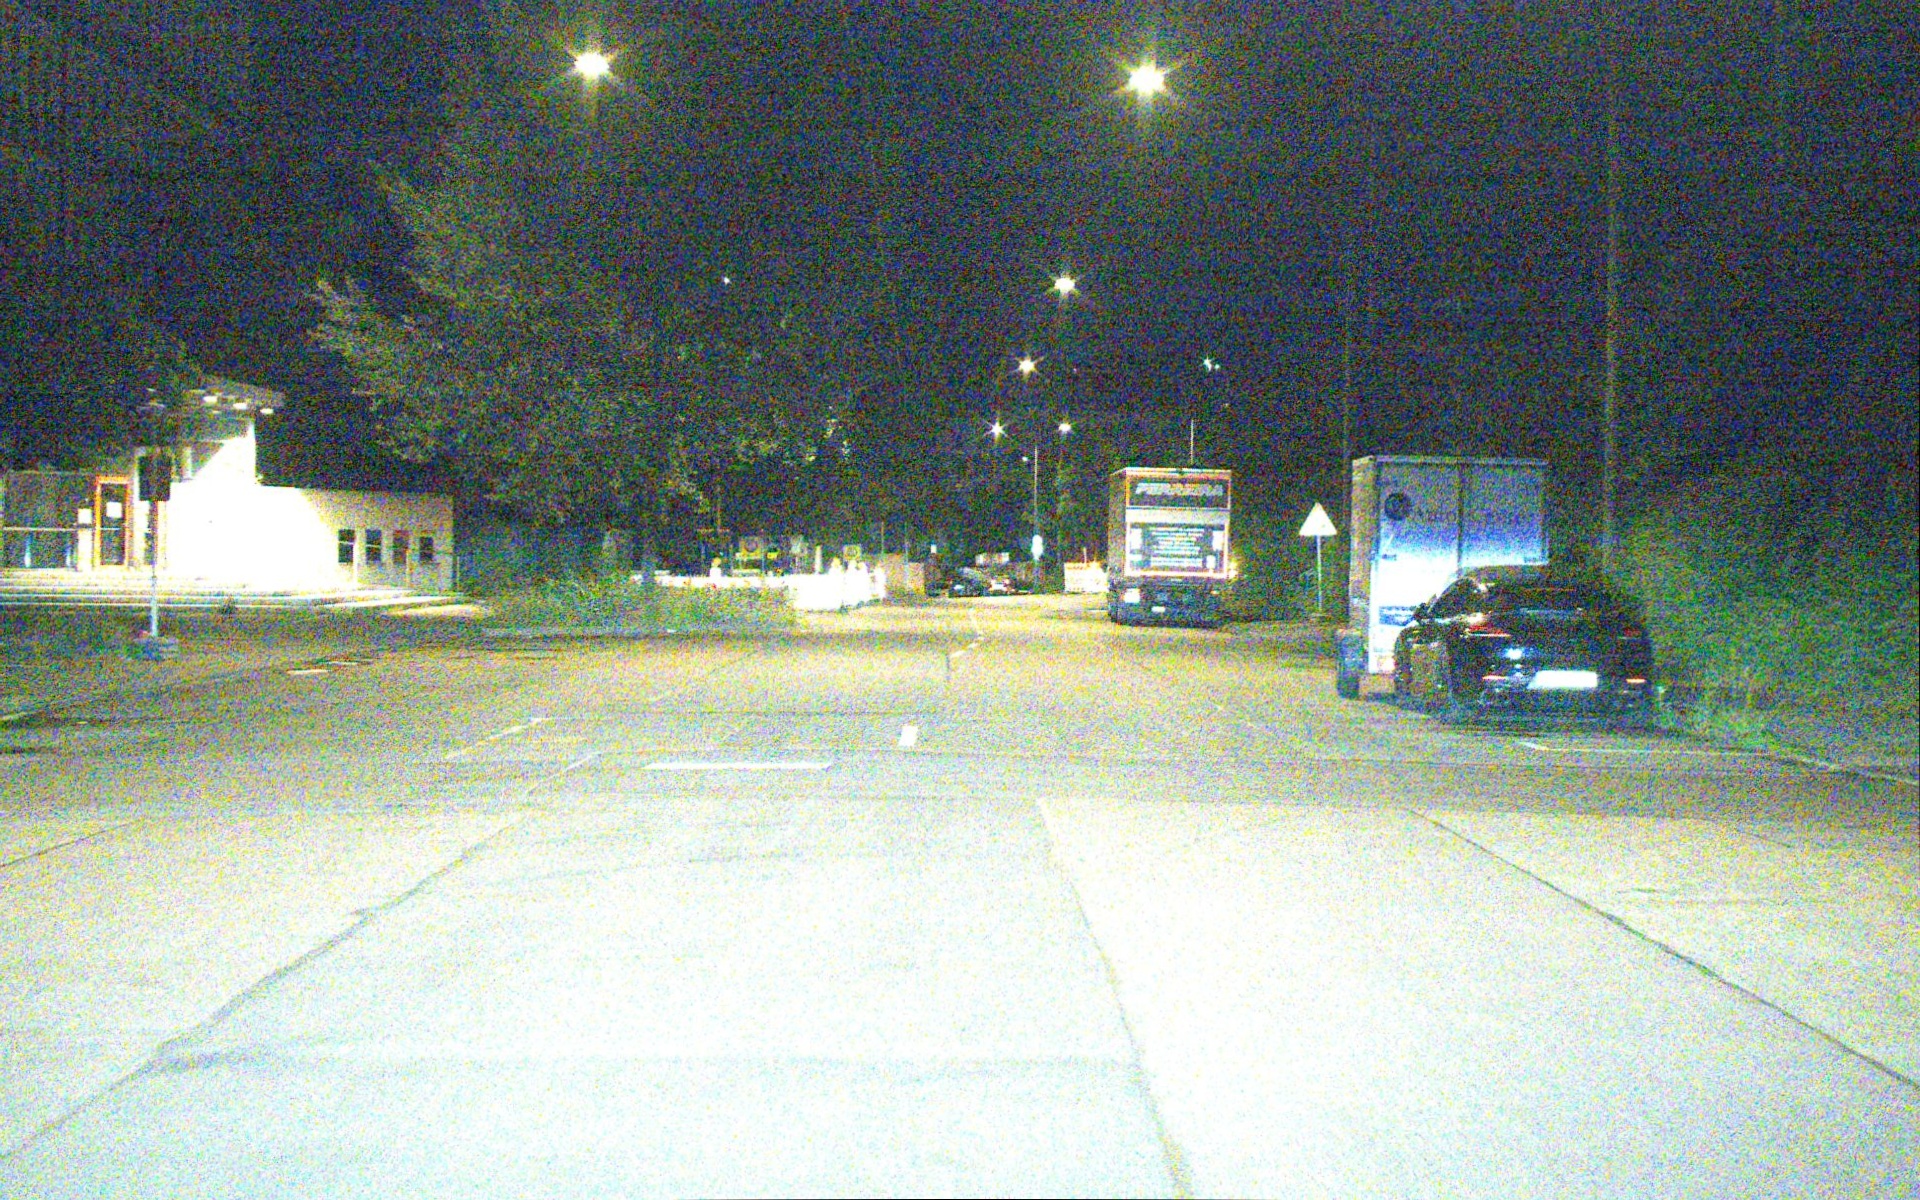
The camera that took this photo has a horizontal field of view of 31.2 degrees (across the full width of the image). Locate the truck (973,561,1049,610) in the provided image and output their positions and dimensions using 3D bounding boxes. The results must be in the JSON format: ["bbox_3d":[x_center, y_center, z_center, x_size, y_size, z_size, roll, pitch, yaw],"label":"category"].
[{"bbox_3d":[3.689,-1.035,246.598,1.996,3.392,8.968,2,1,24],"label":"truck"}]

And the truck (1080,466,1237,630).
[{"bbox_3d":[4.952,-1.272,87.441,3.324,3.855,9.328,1,0,0],"label":"truck"}]

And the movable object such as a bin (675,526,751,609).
[{"bbox_3d":[-7.505,-0.971,104.409,1.548,2.459,2.840,0,0,-21],"label":"movable object such as a bin"}]

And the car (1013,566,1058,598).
[{"bbox_3d":[4.591,-1.090,208.259,1.722,1.815,3.997,1,-1,15],"label":"car"}]

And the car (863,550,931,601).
[{"bbox_3d":[-3.944,-1.529,216.514,2.520,3.160,7.133,-1,0,14],"label":"car"}]

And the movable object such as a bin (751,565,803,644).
[{"bbox_3d":[-6.615,0.131,124.094,1.570,2.724,3.702,-2,1,-7],"label":"movable object such as a bin"}]

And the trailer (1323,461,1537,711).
[{"bbox_3d":[5.276,-0.178,39.049,1.994,2.642,4.000,2,1,3],"label":"trailer"}]

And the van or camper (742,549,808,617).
[{"bbox_3d":[-8.670,-0.789,161.712,2.519,3.084,7.445,-1,0,1],"label":"van or camper"}]

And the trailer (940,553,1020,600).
[{"bbox_3d":[0.915,-1.129,164.907,1.559,2.153,5.222,-1,0,-27],"label":"trailer"}]

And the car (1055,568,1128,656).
[{"bbox_3d":[4.035,0.331,105.262,2.109,2.507,6.371,2,1,3],"label":"car"}]

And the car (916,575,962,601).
[{"bbox_3d":[-1.404,-0.801,232.337,1.995,1.694,4.203,1,-1,15],"label":"car"}]

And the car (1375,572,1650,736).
[{"bbox_3d":[5.234,0.463,33.143,1.726,1.382,4.677,2,1,-2],"label":"car"}]

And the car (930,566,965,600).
[{"bbox_3d":[-0.634,-0.881,179.854,1.720,1.655,4.000,2,-1,1],"label":"car"}]
